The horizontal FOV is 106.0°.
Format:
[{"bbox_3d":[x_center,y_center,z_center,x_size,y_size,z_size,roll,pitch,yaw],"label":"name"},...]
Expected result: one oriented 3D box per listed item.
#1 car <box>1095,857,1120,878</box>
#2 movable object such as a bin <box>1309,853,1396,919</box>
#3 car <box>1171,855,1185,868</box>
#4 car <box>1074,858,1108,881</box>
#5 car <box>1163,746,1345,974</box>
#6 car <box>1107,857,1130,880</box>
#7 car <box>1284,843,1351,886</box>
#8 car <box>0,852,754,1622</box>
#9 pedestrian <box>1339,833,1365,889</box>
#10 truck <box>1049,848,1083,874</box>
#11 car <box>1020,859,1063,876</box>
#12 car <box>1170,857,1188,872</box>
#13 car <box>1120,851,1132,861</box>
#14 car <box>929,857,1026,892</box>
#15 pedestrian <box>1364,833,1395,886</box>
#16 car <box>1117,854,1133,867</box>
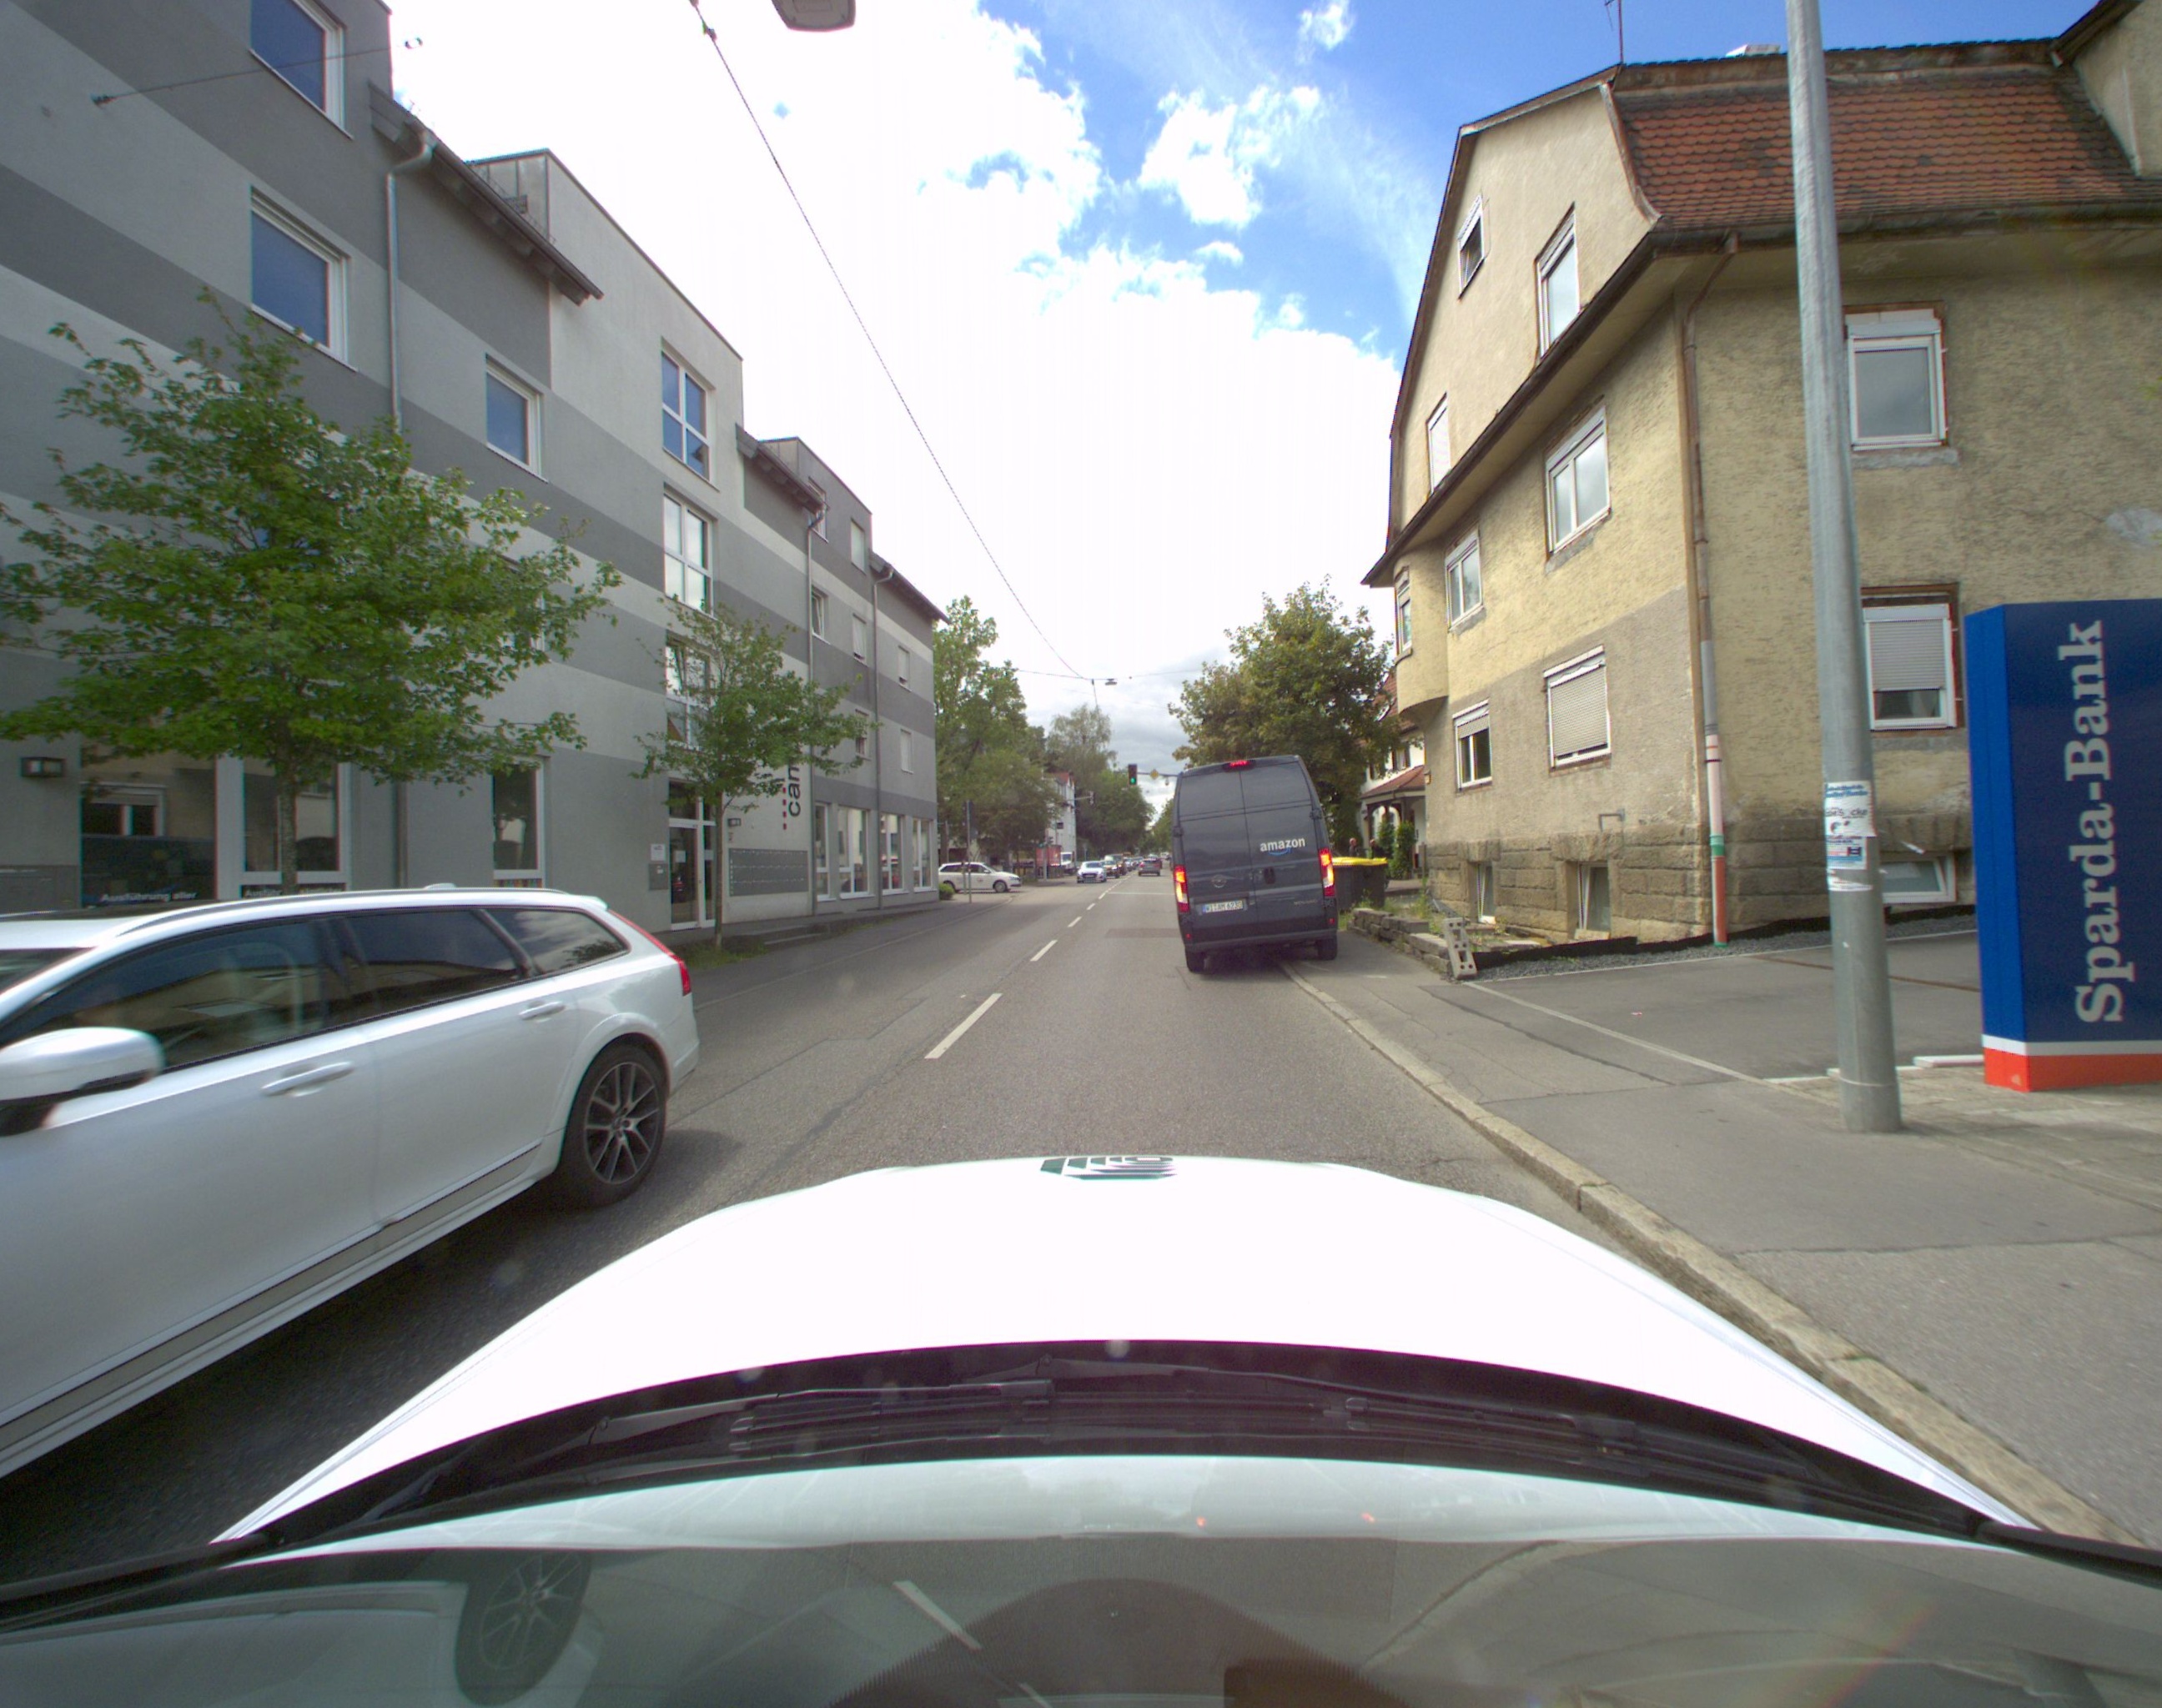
[{"bbox_3d":[2.151,1.039,64.624,1.720,1.538,4.005,-1,0,5],"label":"car"},{"bbox_3d":[5.632,0.642,16.922,1.188,1.266,1.199,-1,-1,-26],"label":"movable object such as a bin"},{"bbox_3d":[12.048,0.961,101.388,1.613,1.507,3.785,-2,0,6],"label":"car"},{"bbox_3d":[0.702,1.030,54.033,1.865,1.424,4.121,-1,0,5],"label":"car"},{"bbox_3d":[2.504,0.095,13.194,2.136,2.770,6.261,-2,0,7],"label":"car"},{"bbox_3d":[3.444,1.290,74.177,1.868,1.912,4.757,-1,0,4],"label":"car"},{"bbox_3d":[10.186,0.416,34.878,1.735,1.517,4.105,-6,-1,30],"label":"car"},{"bbox_3d":[-3.123,0.849,2.546,1.889,1.559,4.805,-4,-1,4],"label":"car"},{"bbox_3d":[8.924,0.229,26.783,0.734,1.782,0.904,-2,-1,21],"label":"pedestrian"},{"bbox_3d":[-1.405,0.715,79.721,2.211,2.380,6.340,-1,-1,9],"label":"truck"},{"bbox_3d":[-3.465,1.203,72.438,3.678,1.425,1.806,-1,0,2],"label":"car"},{"bbox_3d":[9.808,1.030,81.727,1.692,1.480,4.880,0,0,6],"label":"car"},{"bbox_3d":[9.764,0.498,175.683,2.133,1.981,4.942,-1,-1,8],"label":"car"},{"bbox_3d":[-4.870,0.974,38.683,4.191,1.513,1.825,-1,1,5],"label":"car"},{"bbox_3d":[9.581,0.180,26.128,0.777,1.643,0.803,-2,-1,26],"label":"pedestrian"},{"bbox_3d":[5.399,0.772,99.720,1.720,1.502,4.382,-4,0,5],"label":"car"}]
